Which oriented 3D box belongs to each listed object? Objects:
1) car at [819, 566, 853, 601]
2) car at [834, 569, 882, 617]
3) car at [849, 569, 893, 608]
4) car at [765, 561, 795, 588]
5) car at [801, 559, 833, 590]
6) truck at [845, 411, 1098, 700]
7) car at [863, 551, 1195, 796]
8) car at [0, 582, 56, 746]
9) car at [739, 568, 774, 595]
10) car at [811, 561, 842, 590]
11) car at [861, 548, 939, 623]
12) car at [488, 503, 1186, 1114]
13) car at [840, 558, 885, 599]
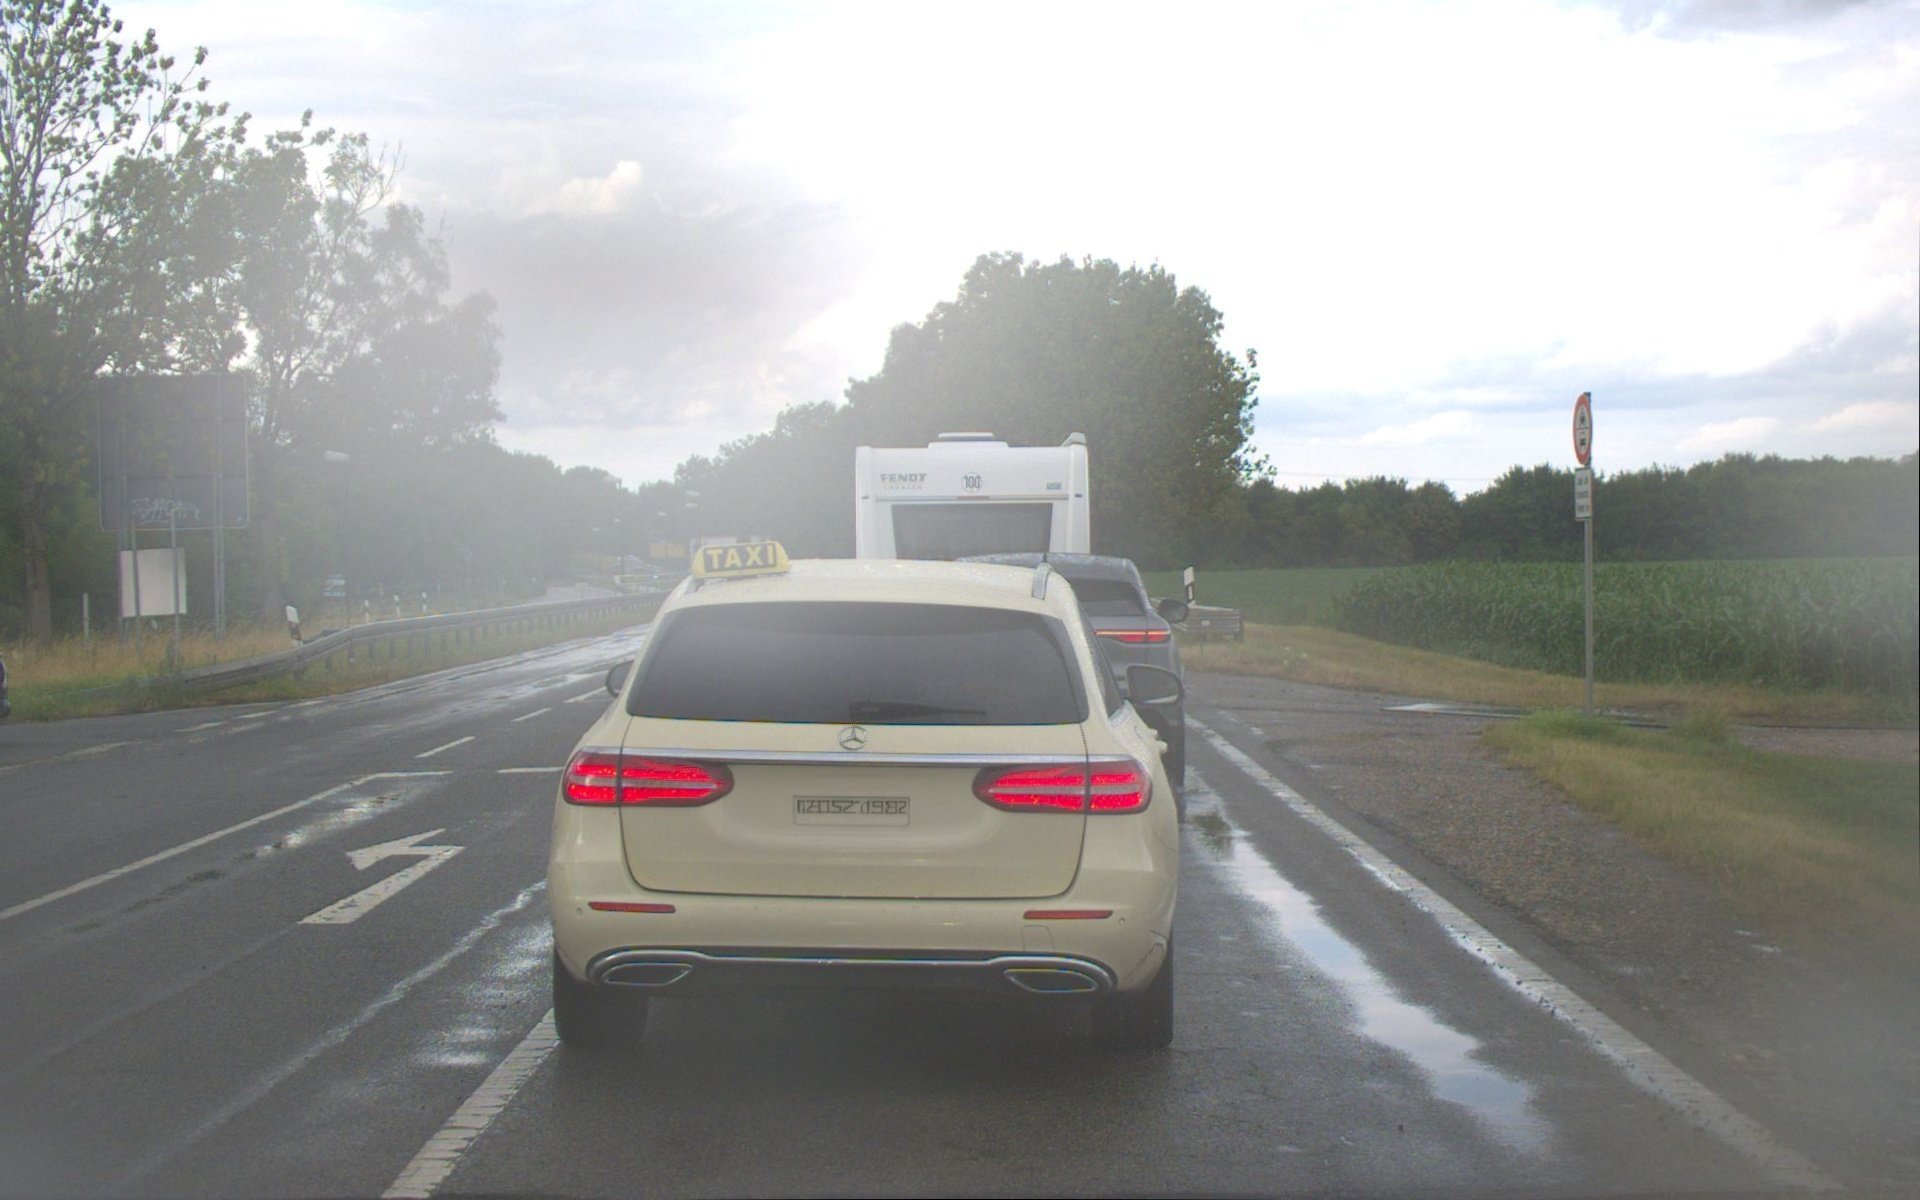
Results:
[{"bbox_3d":[-6.763,-0.930,188.221,1.740,1.853,3.785,-1,1,-1],"label":"car"},{"bbox_3d":[-3.936,-0.280,133.305,1.791,1.771,3.721,-1,1,-1],"label":"car"},{"bbox_3d":[-4.185,-0.574,162.170,1.993,1.766,4.000,-1,1,-1],"label":"car"},{"bbox_3d":[-12.646,-1.784,241.640,1.895,1.833,3.882,-1,1,-1],"label":"car"},{"bbox_3d":[-8.884,-1.575,213.368,1.895,1.888,3.844,-1,1,-4],"label":"car"},{"bbox_3d":[0.074,-0.472,36.570,2.363,2.719,7.314,-1,1,-1],"label":"truck"},{"bbox_3d":[0.397,0.431,22.859,1.993,1.457,4.000,1,0,-1],"label":"car"},{"bbox_3d":[-11.350,0.570,32.982,4.619,1.542,2.308,1,0,12],"label":"car"},{"bbox_3d":[-12.139,-1.123,205.507,1.828,1.568,4.000,1,0,0],"label":"car"},{"bbox_3d":[-7.888,-1.479,202.695,1.748,1.656,3.673,-1,1,-3],"label":"car"},{"bbox_3d":[-1.525,-0.382,88.169,1.915,1.834,3.796,-1,1,0],"label":"car"},{"bbox_3d":[-0.348,0.533,11.114,1.842,1.612,4.000,0,1,-1],"label":"car"},{"bbox_3d":[-4.230,-0.952,149.977,1.879,1.755,3.834,-1,1,-1],"label":"car"}]
